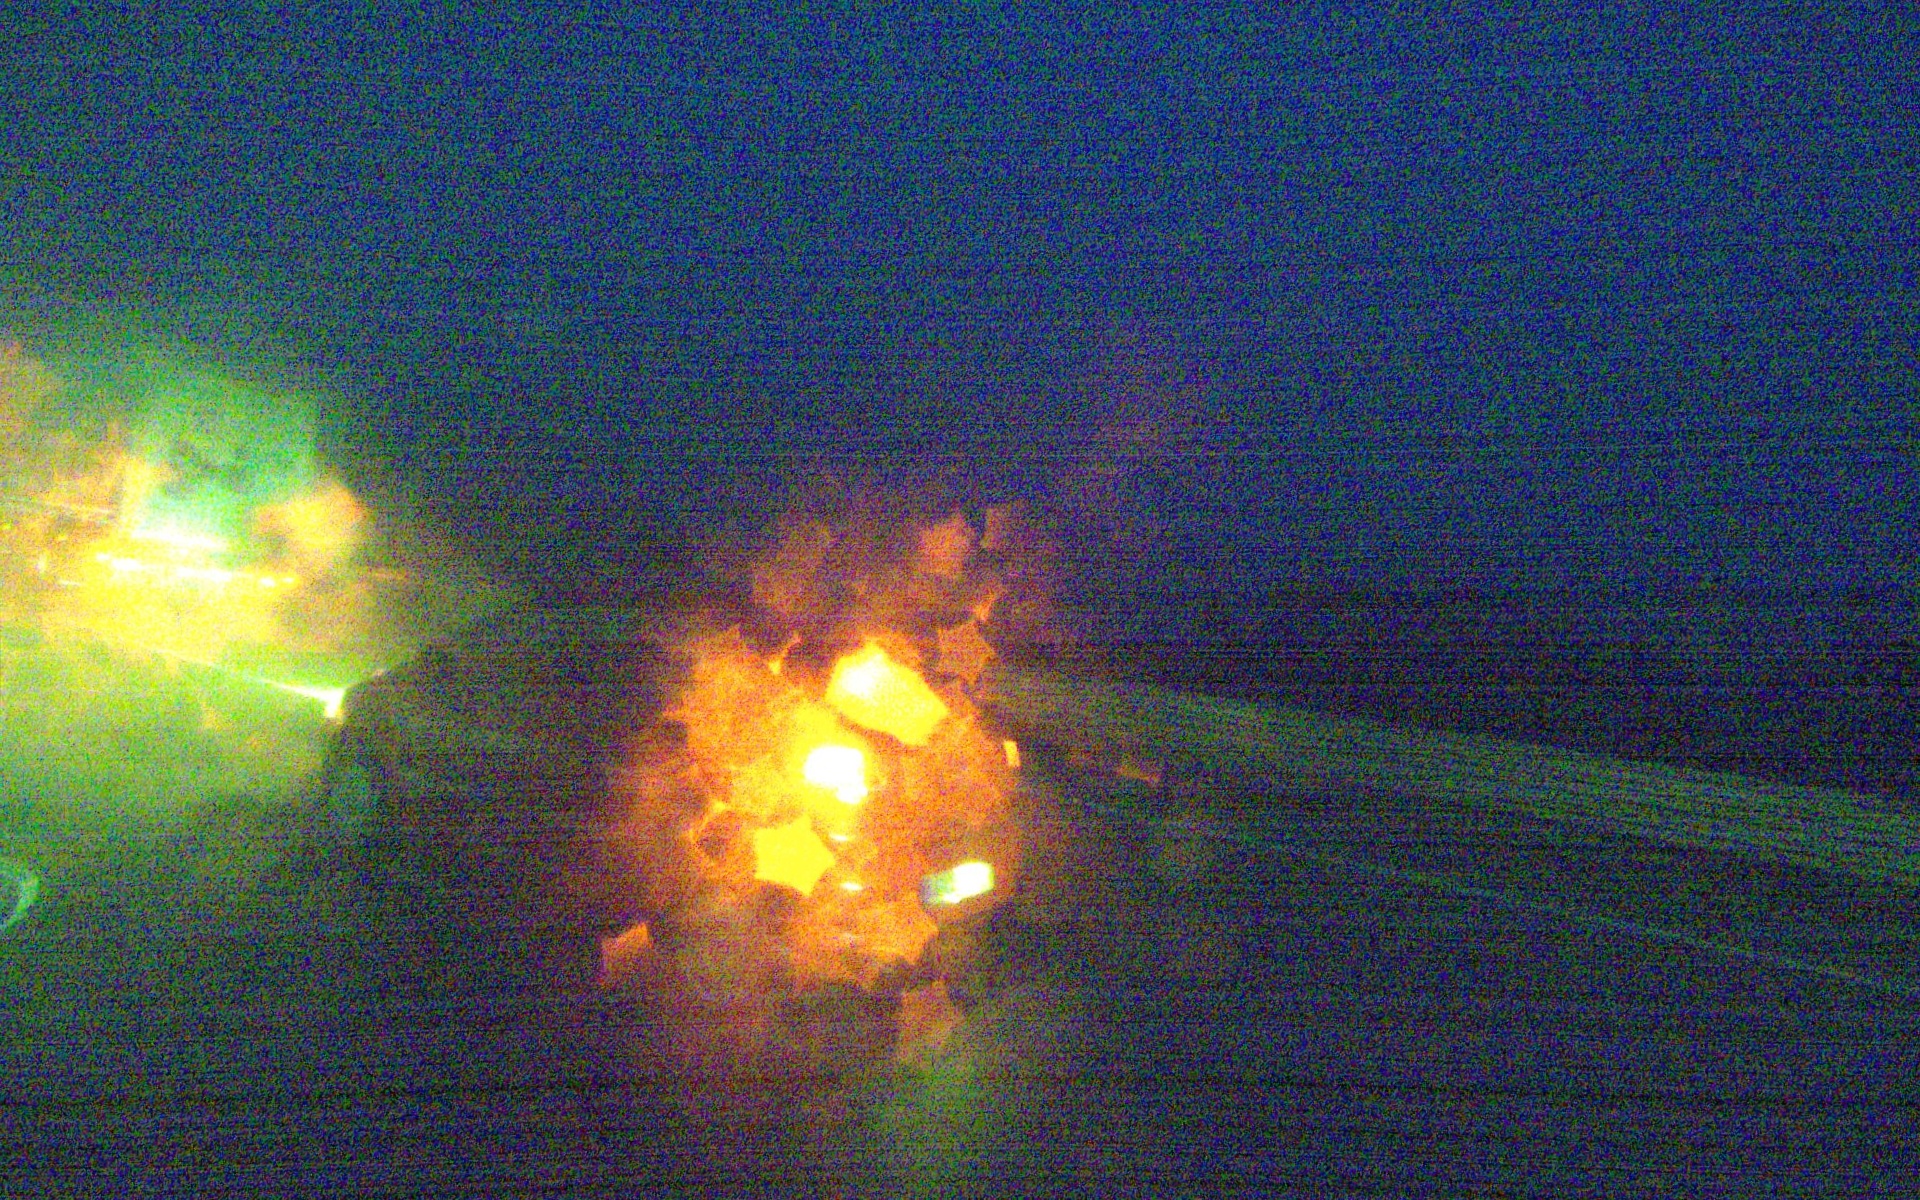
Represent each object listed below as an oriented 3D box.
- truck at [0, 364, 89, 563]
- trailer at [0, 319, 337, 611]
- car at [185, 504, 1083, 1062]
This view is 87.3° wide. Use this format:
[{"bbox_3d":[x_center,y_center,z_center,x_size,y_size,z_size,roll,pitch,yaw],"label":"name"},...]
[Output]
[{"bbox_3d":[-23.315,-3.300,23.278,5.930,4.161,2.905,7,1,31],"label":"truck"},{"bbox_3d":[-17.655,-2.665,19.777,14.246,4.161,2.905,7,1,32],"label":"trailer"},{"bbox_3d":[-1.832,0.544,5.096,4.419,1.594,1.743,6,-1,31],"label":"car"}]
